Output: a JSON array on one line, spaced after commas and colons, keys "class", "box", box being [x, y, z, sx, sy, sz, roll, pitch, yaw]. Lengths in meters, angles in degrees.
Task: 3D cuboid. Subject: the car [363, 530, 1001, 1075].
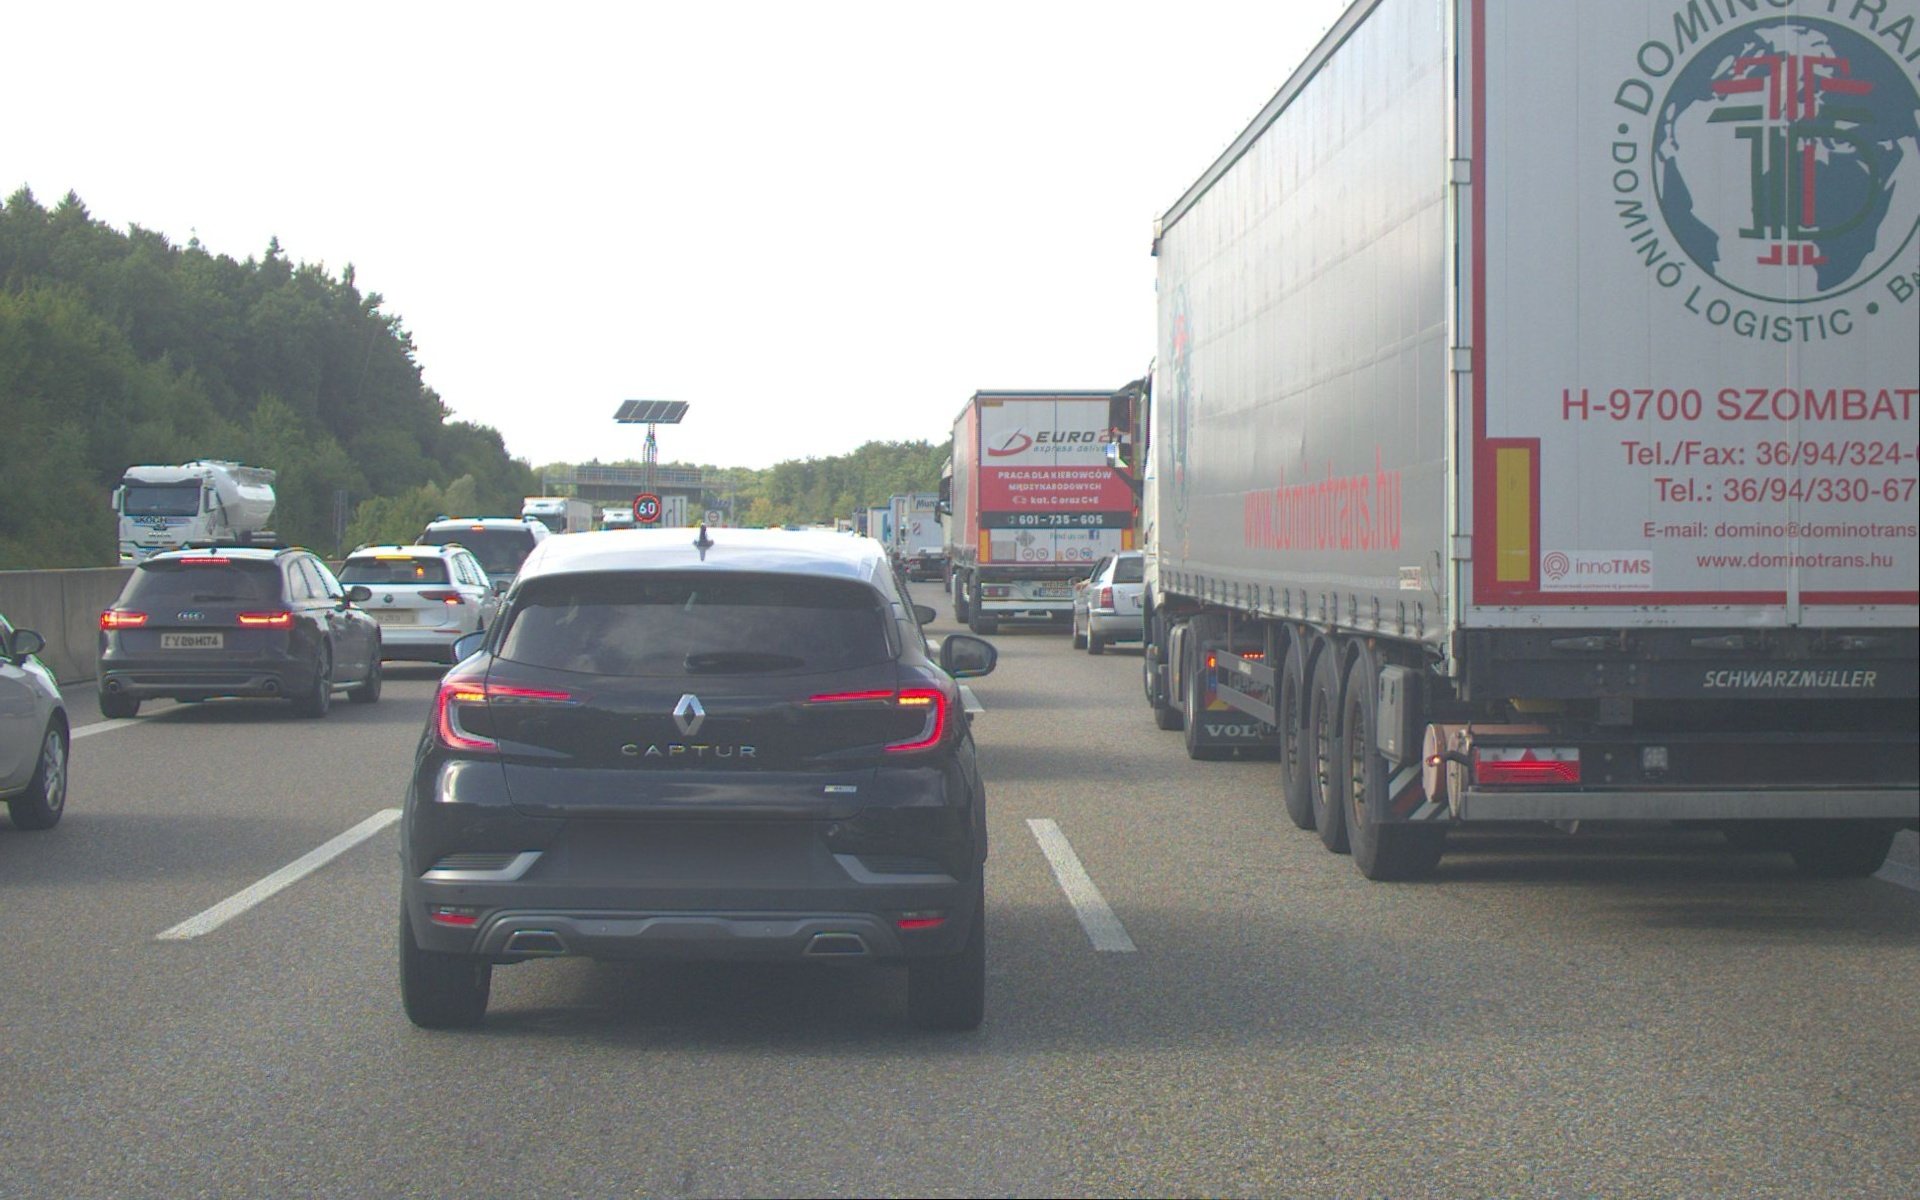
[{"class": "car", "box": [-0.773, 0.548, 11.827, 1.804, 1.547, 4.000, 0, 1, 1]}]

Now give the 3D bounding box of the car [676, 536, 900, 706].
[{"class": "car", "box": [-1.584, 0.169, 32.949, 1.993, 1.509, 4.000, 1, 1, -1]}]

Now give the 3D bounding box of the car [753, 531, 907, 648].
[{"class": "car", "box": [-1.741, -0.162, 47.122, 1.993, 1.509, 4.000, 1, 1, -1]}]

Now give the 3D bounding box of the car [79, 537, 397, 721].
[{"class": "car", "box": [-6.183, 0.189, 29.960, 1.843, 1.451, 4.748, 1, 1, -1]}]

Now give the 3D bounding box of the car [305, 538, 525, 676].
[{"class": "car", "box": [-6.060, 0.048, 38.689, 1.804, 1.456, 4.309, 0, 1, 0]}]

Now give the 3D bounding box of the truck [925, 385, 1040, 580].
[{"class": "truck", "box": [0.580, -3.388, 103.538, 3.166, 5.486, 12.738, 1, 1, -1]}]

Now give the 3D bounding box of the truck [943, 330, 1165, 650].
[{"class": "truck", "box": [1.462, -1.808, 60.950, 3.365, 5.027, 12.738, 1, 1, -1]}]

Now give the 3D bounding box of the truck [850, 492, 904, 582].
[{"class": "truck", "box": [-5.187, -3.930, 217.460, 3.166, 5.486, 12.738, 1, 1, -1]}]

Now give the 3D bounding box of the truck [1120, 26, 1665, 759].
[{"class": "truck", "box": [2.902, -1.375, 24.942, 2.997, 4.651, 5.940, 0, 1, -2]}]

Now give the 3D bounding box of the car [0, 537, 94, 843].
[{"class": "car", "box": [-5.489, 0.441, 16.460, 1.747, 1.460, 4.041, 0, 1, -1]}]

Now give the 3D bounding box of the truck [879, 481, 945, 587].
[{"class": "truck", "box": [-2.402, -3.296, 175.010, 3.166, 5.142, 12.738, 1, 1, -1]}]

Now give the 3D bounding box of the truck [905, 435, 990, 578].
[{"class": "truck", "box": [-0.426, -3.694, 139.983, 3.166, 5.486, 12.737, 1, 1, 1]}]

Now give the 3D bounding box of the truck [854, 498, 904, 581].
[{"class": "truck", "box": [-5.507, -4.117, 235.943, 3.166, 5.486, 12.738, 1, 1, -1]}]

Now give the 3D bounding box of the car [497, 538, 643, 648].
[{"class": "car", "box": [-6.058, -0.127, 53.763, 1.855, 1.635, 3.926, 1, 1, 0]}]

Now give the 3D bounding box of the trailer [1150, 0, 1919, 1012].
[{"class": "trailer", "box": [3.089, -1.099, 17.910, 3.002, 4.645, 13.291, 1, 1, -2]}]

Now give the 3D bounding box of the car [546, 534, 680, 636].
[{"class": "car", "box": [-6.081, -0.281, 60.560, 1.993, 1.716, 4.000, 1, 1, -1]}]

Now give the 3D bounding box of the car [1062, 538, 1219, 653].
[{"class": "car", "box": [2.478, -0.080, 48.073, 1.804, 1.527, 3.926, 1, 1, -2]}]

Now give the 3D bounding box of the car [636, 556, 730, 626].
[{"class": "car", "box": [-6.634, -0.236, 82.656, 1.993, 1.607, 4.000, 1, 1, -1]}]

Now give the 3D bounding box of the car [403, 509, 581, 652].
[{"class": "car", "box": [-6.167, -0.264, 45.730, 1.911, 1.783, 4.418, 1, 1, -2]}]

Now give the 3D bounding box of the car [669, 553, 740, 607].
[{"class": "car", "box": [-8.027, -0.648, 108.143, 1.993, 1.607, 4.000, 1, 1, -1]}]

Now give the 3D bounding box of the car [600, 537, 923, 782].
[{"class": "car", "box": [-1.272, 0.353, 23.475, 1.993, 1.509, 4.000, 1, 1, -1]}]

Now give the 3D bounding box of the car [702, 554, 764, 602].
[{"class": "car", "box": [-7.949, -0.771, 120.651, 1.993, 1.607, 4.000, 1, 1, -1]}]

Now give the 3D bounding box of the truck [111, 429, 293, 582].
[{"class": "truck", "box": [-22.996, -2.778, 105.153, 2.932, 4.339, 13.912, 1, 1, -2]}]
